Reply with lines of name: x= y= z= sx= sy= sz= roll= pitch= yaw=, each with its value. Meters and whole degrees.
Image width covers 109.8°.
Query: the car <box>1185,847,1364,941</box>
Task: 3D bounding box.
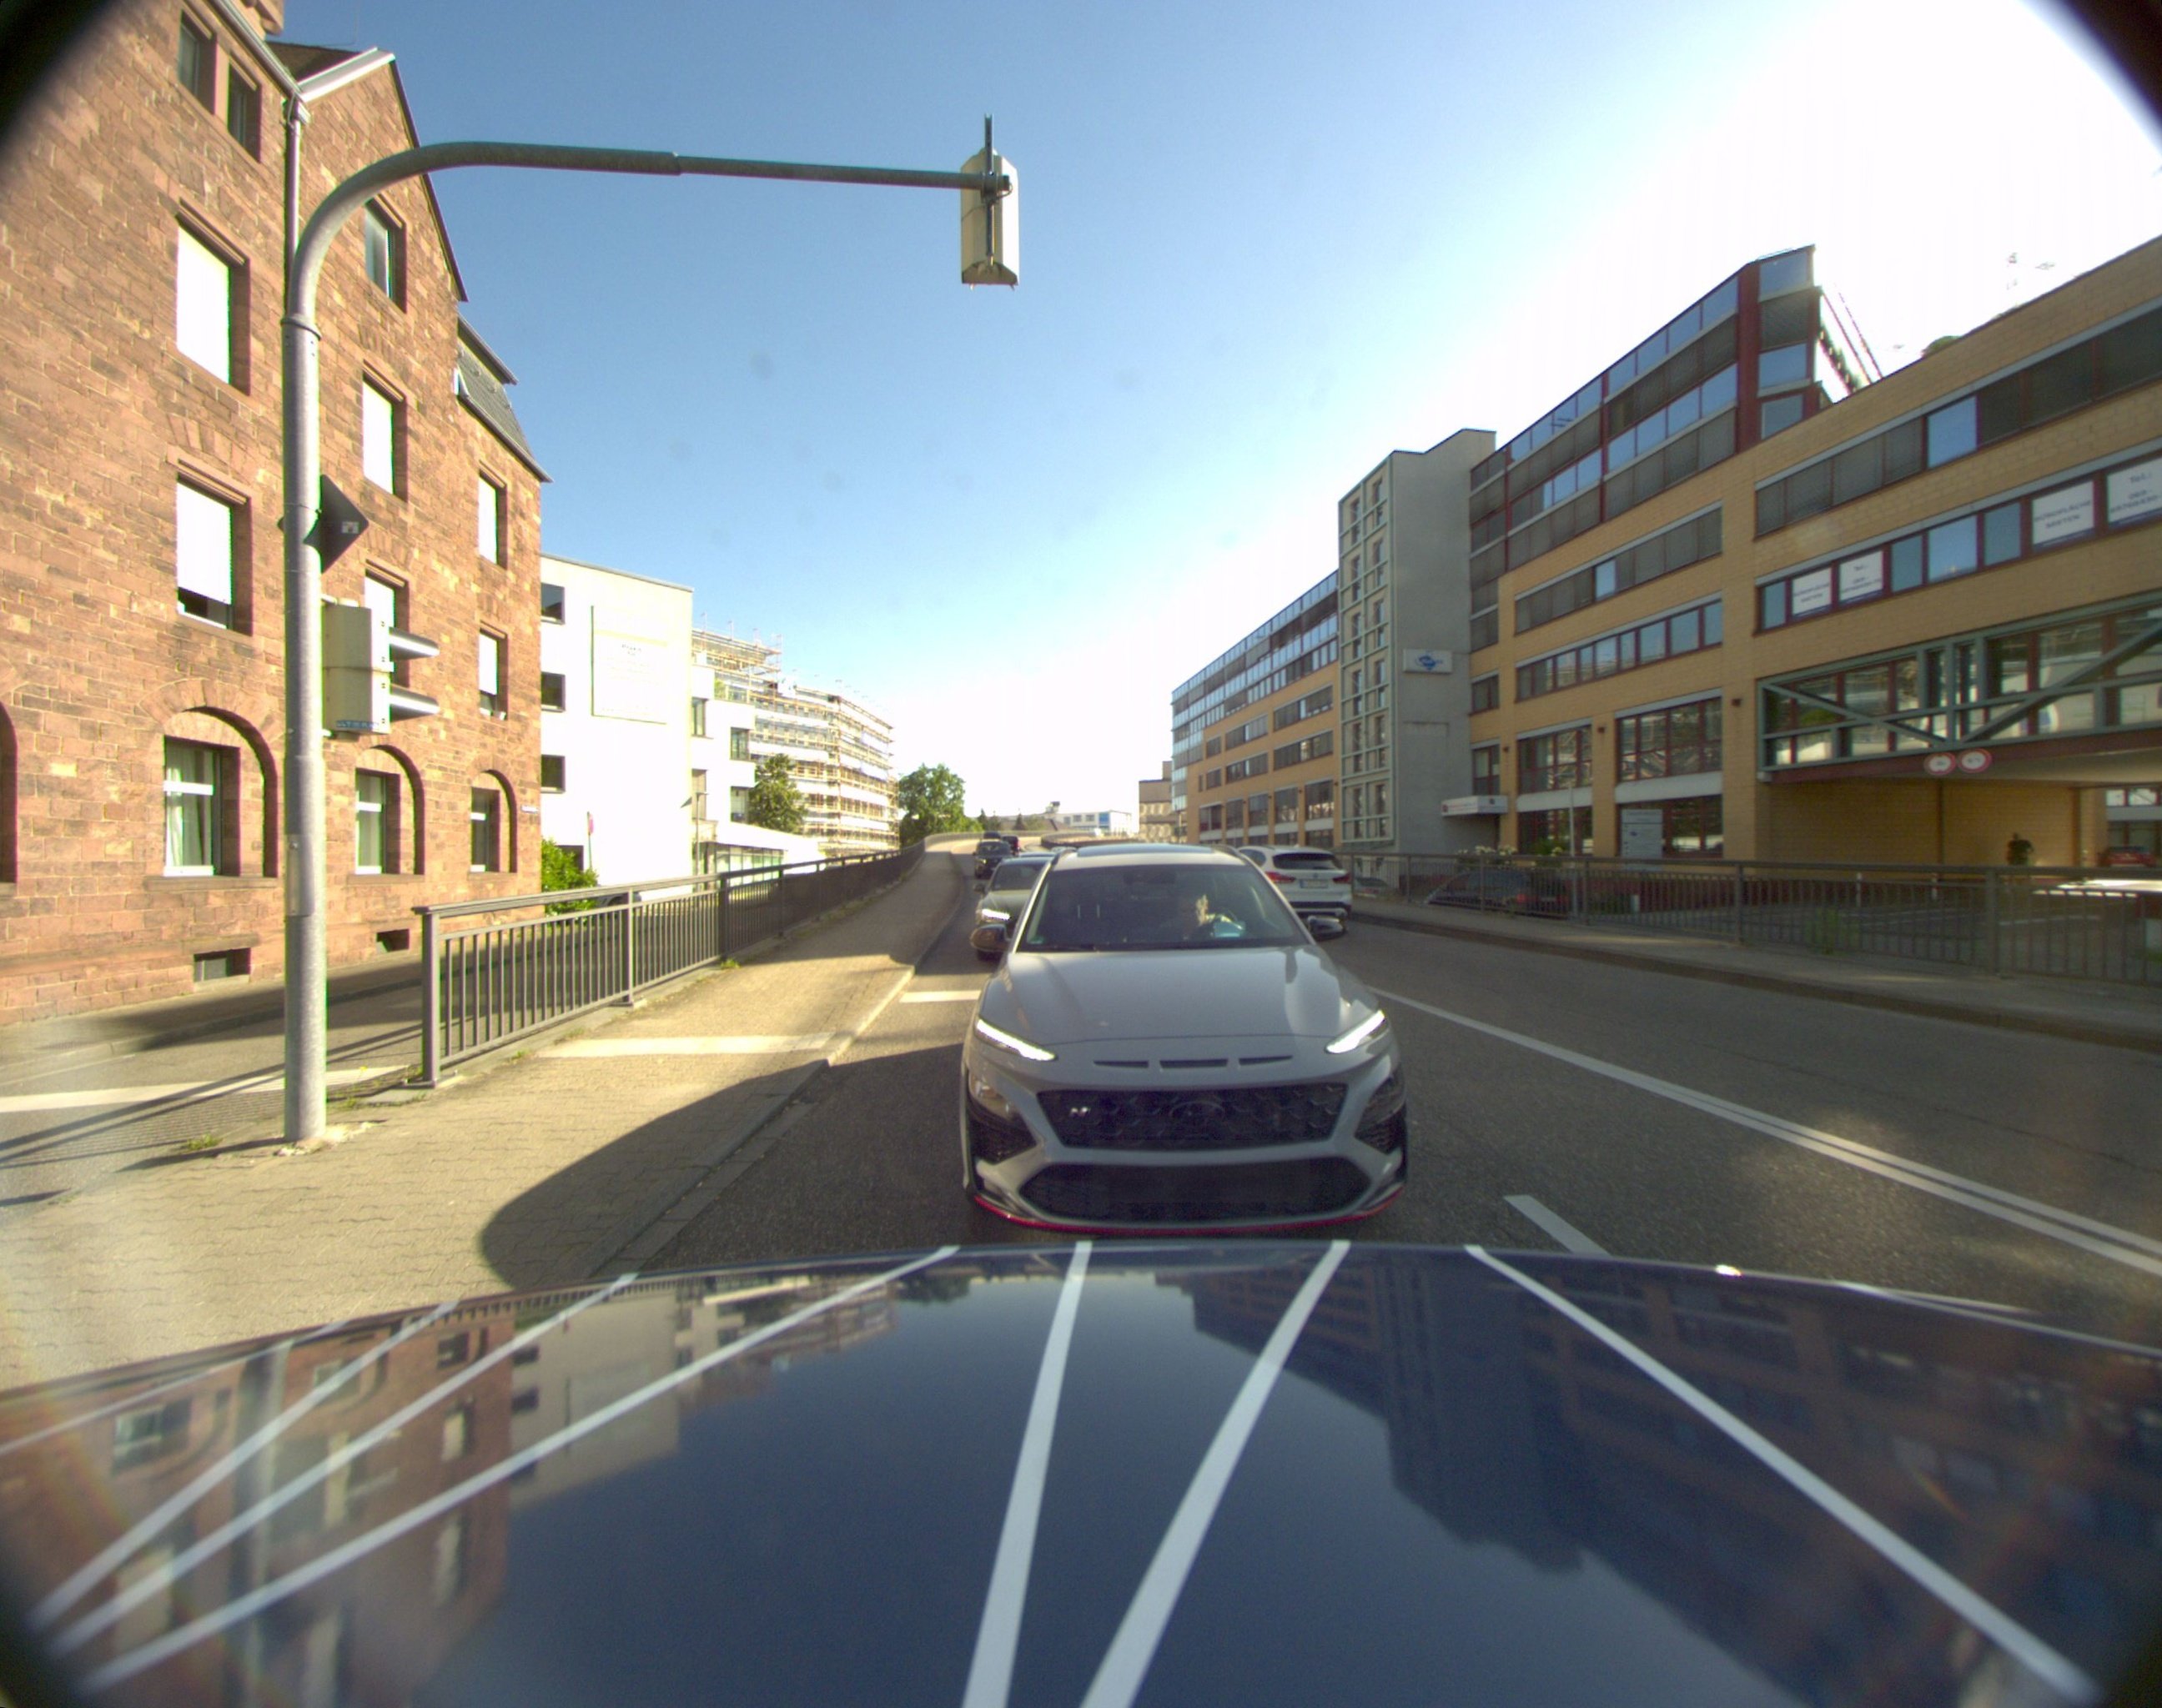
car: x=3.730 y=0.694 z=15.642 sx=1.840 sy=1.643 sz=4.624 roll=0 pitch=0 yaw=-10

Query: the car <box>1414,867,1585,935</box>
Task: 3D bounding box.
car: x=12.411 y=1.304 z=22.977 sx=1.957 sy=1.747 sz=4.683 roll=-1 pitch=0 yaw=-11

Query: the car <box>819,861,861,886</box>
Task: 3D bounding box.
car: x=-15.517 y=1.241 z=49.137 sx=1.850 sy=1.526 sz=3.997 roll=0 pitch=0 yaw=-7

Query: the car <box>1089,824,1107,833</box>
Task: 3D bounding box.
car: x=3.571 y=-5.185 z=154.636 sx=1.811 sy=1.791 sz=5.129 roll=0 pitch=0 yaw=24

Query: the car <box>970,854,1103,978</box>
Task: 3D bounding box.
car: x=-0.698 y=0.815 z=12.095 sx=1.721 sy=1.483 sz=4.166 roll=-1 pitch=2 yaw=-3

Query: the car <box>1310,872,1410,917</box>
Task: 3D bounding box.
car: x=11.092 y=1.562 z=30.560 sx=1.826 sy=1.594 sz=4.353 roll=0 pitch=0 yaw=-10

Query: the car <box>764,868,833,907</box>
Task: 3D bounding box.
car: x=-13.037 y=1.495 z=35.389 sx=1.850 sy=1.422 sz=4.678 roll=-1 pitch=2 yaw=-6

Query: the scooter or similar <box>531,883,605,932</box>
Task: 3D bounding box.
scooter or similar: x=-14.267 y=1.474 z=21.166 sx=1.463 sy=1.212 sz=0.784 roll=-3 pitch=1 yaw=-14

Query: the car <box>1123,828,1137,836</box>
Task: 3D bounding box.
car: x=10.936 y=-4.882 z=169.909 sx=1.821 sy=1.594 sz=4.007 roll=2 pitch=1 yaw=25

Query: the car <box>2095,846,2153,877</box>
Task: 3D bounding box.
car: x=53.706 y=0.388 z=39.164 sx=3.159 sy=1.564 sz=1.639 roll=0 pitch=-1 yaw=-38

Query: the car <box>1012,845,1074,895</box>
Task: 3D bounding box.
car: x=-1.434 y=0.504 z=26.960 sx=1.850 sy=1.527 sz=4.504 roll=-1 pitch=2 yaw=-7

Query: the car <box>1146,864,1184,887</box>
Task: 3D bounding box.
car: x=6.390 y=1.603 z=57.928 sx=2.000 sy=1.652 sz=3.997 roll=0 pitch=0 yaw=-7

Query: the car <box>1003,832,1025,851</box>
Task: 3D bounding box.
car: x=-7.150 y=-1.269 z=80.334 sx=2.000 sy=1.924 sz=4.848 roll=0 pitch=0 yaw=-9

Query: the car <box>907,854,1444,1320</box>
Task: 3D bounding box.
car: x=0.369 y=0.823 z=4.760 sx=1.849 sy=1.561 sz=4.220 roll=-1 pitch=1 yaw=1

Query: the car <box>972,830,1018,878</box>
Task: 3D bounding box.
car: x=-4.327 y=-0.066 z=37.629 sx=1.911 sy=2.201 sz=4.593 roll=-1 pitch=2 yaw=-11

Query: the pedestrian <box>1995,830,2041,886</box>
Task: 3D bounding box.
pedestrian: x=31.186 y=0.135 z=25.287 sx=0.787 sy=1.833 sz=0.678 roll=0 pitch=0 yaw=-12

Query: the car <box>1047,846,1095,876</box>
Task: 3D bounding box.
car: x=-0.595 y=0.320 z=40.236 sx=1.826 sy=1.495 sz=4.446 roll=0 pitch=1 yaw=-11

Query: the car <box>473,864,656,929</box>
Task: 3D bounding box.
car: x=-16.973 y=1.303 z=25.182 sx=1.823 sy=1.757 sz=4.658 roll=1 pitch=2 yaw=42
